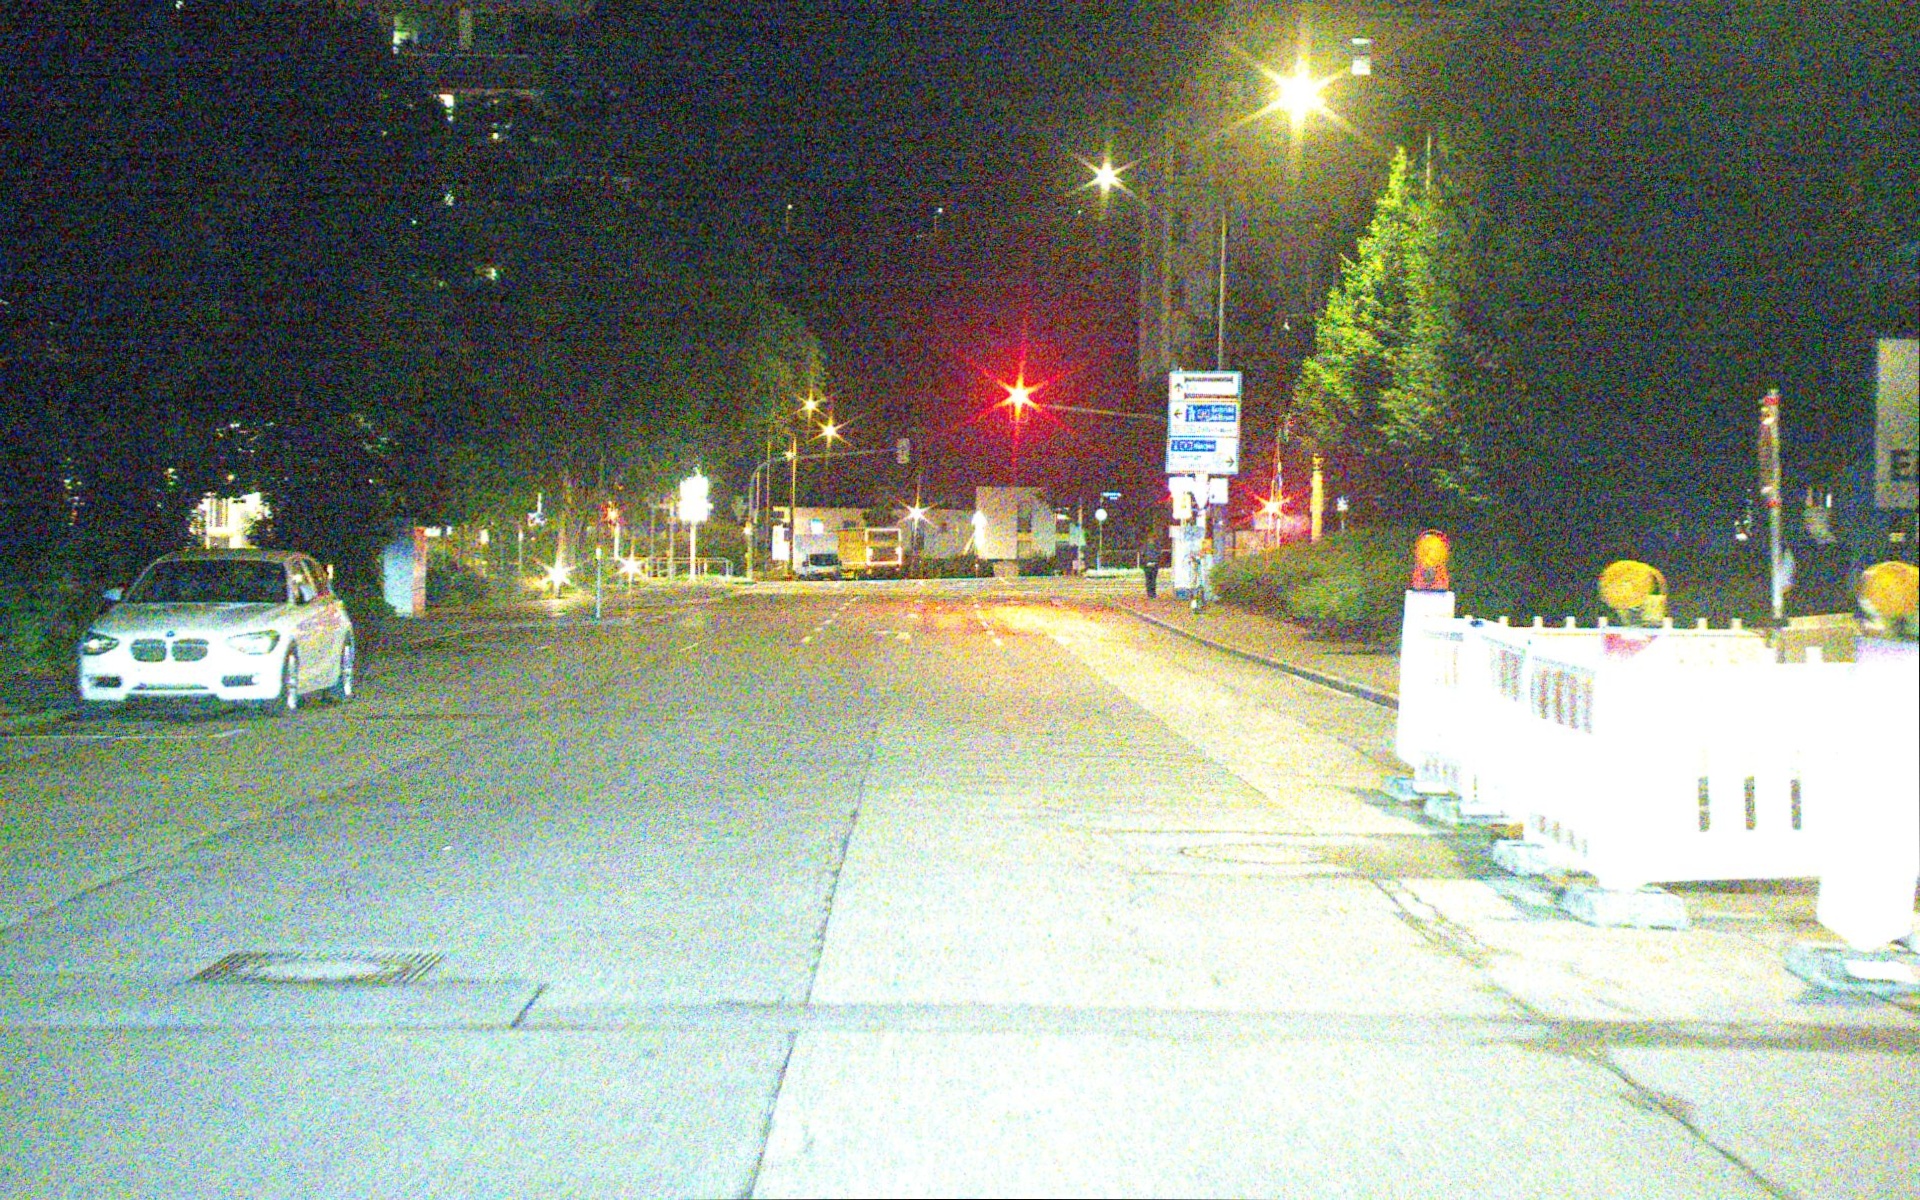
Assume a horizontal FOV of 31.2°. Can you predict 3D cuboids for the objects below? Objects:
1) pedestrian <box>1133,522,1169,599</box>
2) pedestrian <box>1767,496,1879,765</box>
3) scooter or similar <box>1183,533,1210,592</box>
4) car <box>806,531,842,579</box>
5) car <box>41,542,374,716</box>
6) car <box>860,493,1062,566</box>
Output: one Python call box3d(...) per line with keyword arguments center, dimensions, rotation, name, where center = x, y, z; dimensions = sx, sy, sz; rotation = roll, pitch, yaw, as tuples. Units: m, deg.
box3d(center=(4.975, -1.029, 89.529), dimensions=(0.737, 1.975, 0.626), rotation=(0, 1, -16), name="pedestrian")
box3d(center=(6.022, 0.202, 24.018), dimensions=(0.570, 1.846, 0.820), rotation=(0, 1, 1), name="pedestrian")
box3d(center=(5.156, -0.821, 75.034), dimensions=(0.494, 1.257, 1.320), rotation=(-2, 1, 2), name="scooter or similar")
box3d(center=(-8.386, -2.788, 212.261), dimensions=(1.993, 2.963, 4.001), rotation=(0, 1, -5), name="car")
box3d(center=(-6.468, 0.198, 30.039), dimensions=(1.911, 1.399, 4.338), rotation=(0, 1, 1), name="car")
box3d(center=(0.025, -4.605, 225.172), dimensions=(12.380, 4.693, 4.811), rotation=(0, 1, -14), name="car")
